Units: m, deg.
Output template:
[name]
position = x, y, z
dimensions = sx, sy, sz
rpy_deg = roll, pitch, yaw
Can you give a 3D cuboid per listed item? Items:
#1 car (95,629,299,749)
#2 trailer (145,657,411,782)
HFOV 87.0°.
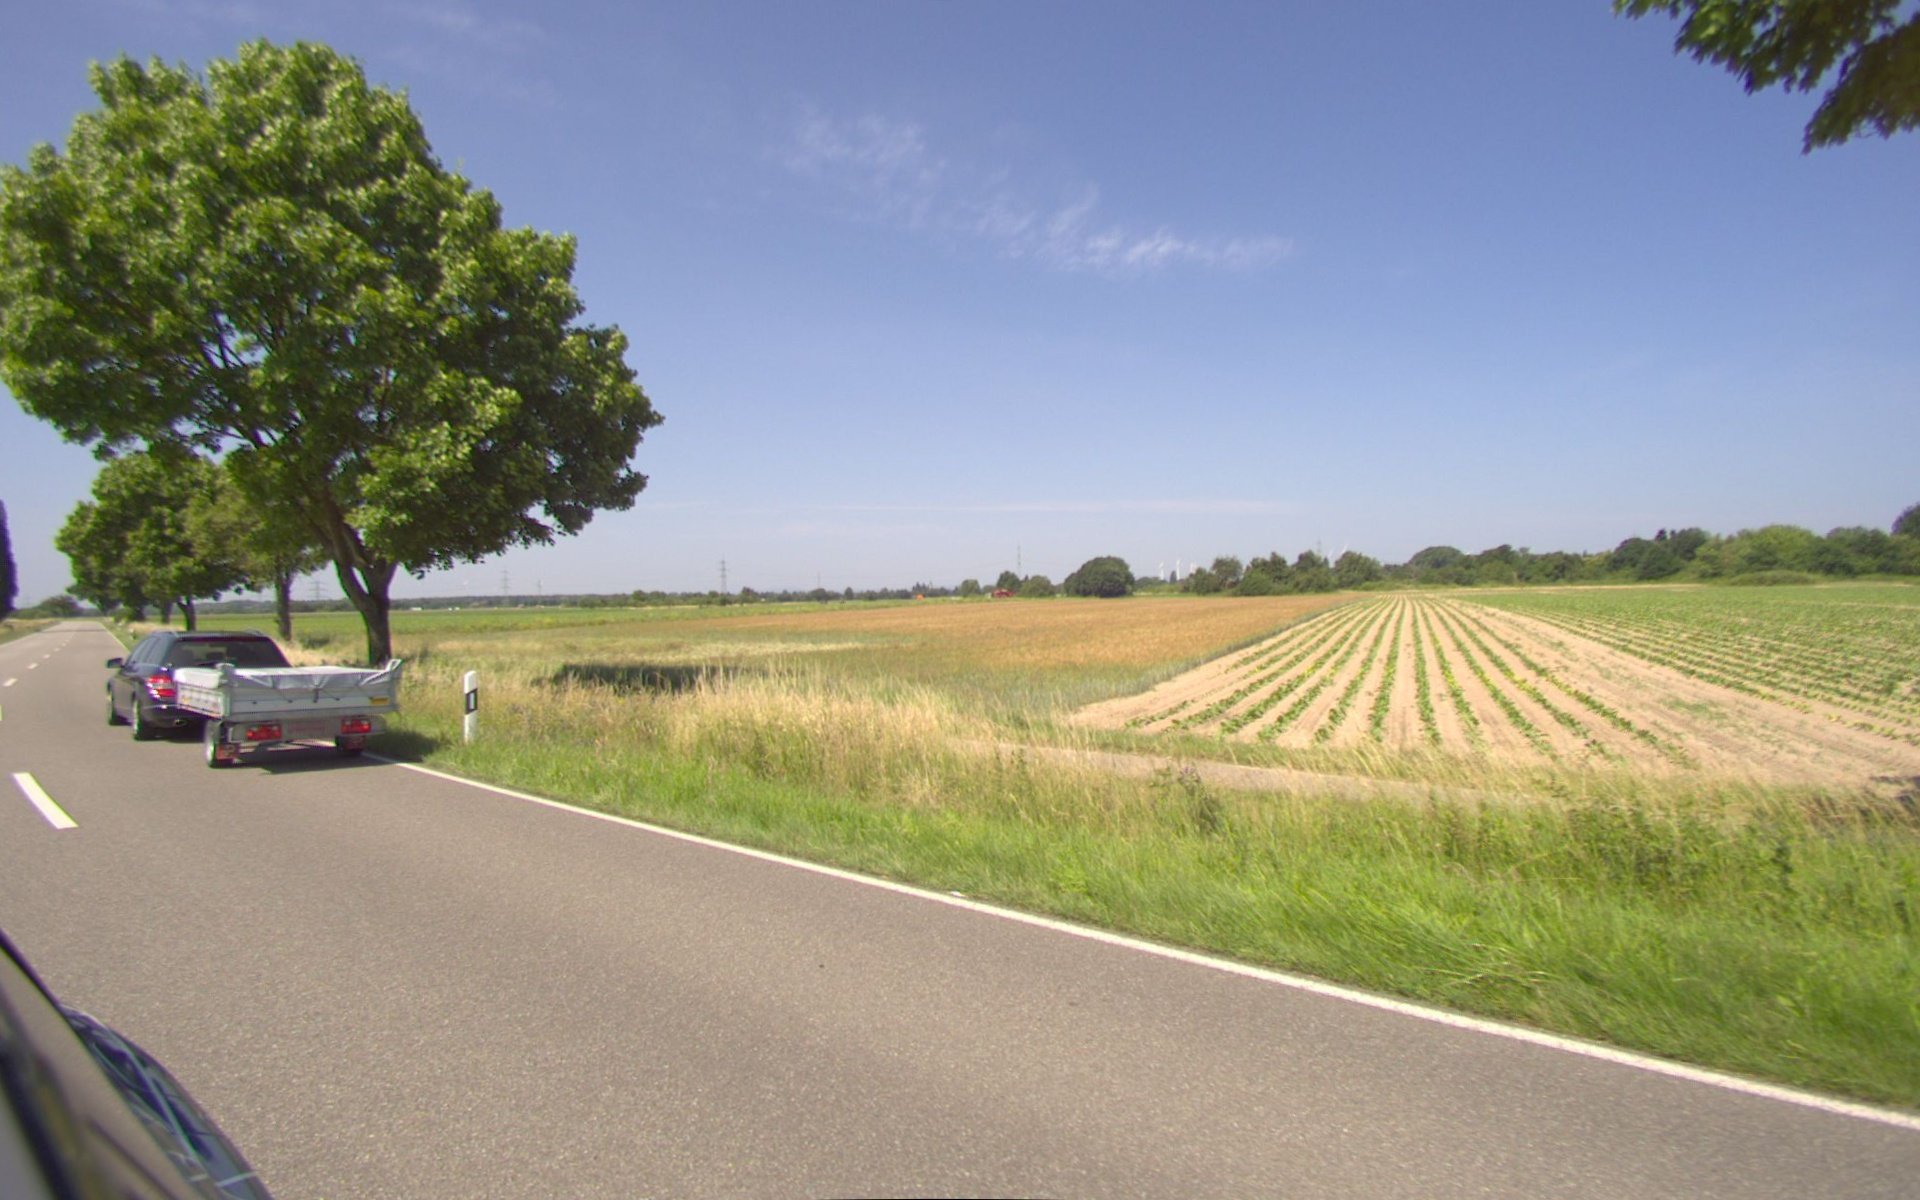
[car]
position = -10.846, 1.147, 14.267
dimensions = 4.181, 1.440, 1.625
rpy_deg = -1, -3, 44
[trailer]
position = -7.793, 1.222, 11.411
dimensions = 4.119, 1.073, 1.604
rpy_deg = -2, -3, 43
